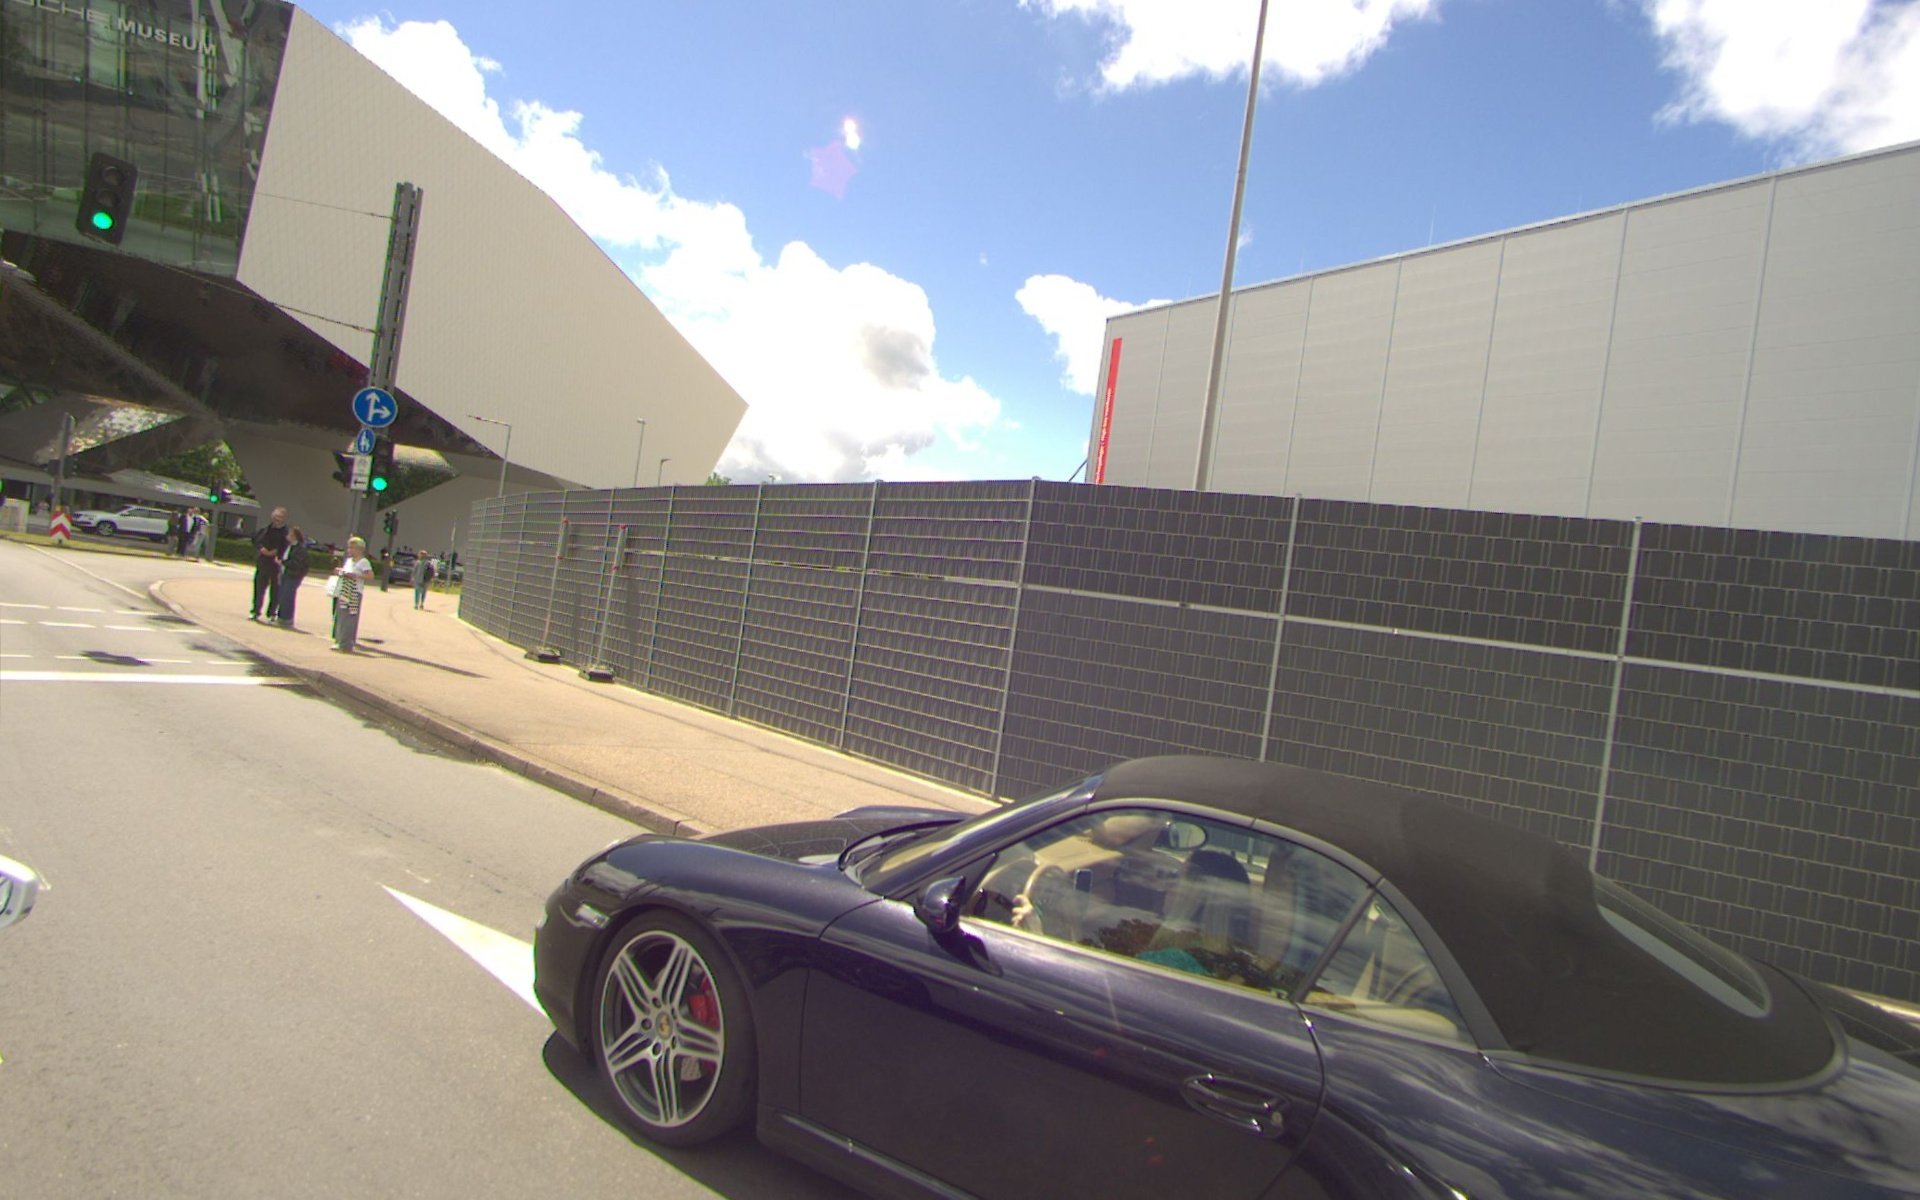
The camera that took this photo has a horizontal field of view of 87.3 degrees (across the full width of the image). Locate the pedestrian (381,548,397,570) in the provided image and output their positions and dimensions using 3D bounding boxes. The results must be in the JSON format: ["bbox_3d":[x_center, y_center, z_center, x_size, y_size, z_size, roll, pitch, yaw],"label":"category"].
[{"bbox_3d":[-49.328,-3.529,86.889,0.764,1.758,0.827,8,-2,-10],"label":"pedestrian"}]

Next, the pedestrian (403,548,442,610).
[{"bbox_3d":[-15.021,-0.582,28.104,0.689,1.604,0.912,9,-2,-35],"label":"pedestrian"}]

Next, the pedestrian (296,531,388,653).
[{"bbox_3d":[-8.912,-0.117,14.513,0.810,1.626,0.660,6,-2,34],"label":"pedestrian"}]

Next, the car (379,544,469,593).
[{"bbox_3d":[-25.571,-1.461,48.152,1.963,1.721,4.004,8,-3,0],"label":"car"}]

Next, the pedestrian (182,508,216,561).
[{"bbox_3d":[-28.675,-2.476,37.924,0.664,1.867,0.617,8,-2,-22],"label":"pedestrian"}]

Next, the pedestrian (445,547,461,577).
[{"bbox_3d":[-36.031,-2.693,71.523,0.768,2.036,0.822,8,-2,-29],"label":"pedestrian"}]

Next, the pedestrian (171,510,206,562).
[{"bbox_3d":[-28.516,-2.354,37.194,0.664,1.815,0.617,8,-2,-21],"label":"pedestrian"}]

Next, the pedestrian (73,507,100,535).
[{"bbox_3d":[-55.658,-5.002,64.111,0.906,1.590,0.831,7,-2,20],"label":"pedestrian"}]

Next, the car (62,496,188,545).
[{"bbox_3d":[-38.241,-3.628,46.180,1.807,1.568,3.995,6,-1,29],"label":"car"}]

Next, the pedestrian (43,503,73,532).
[{"bbox_3d":[-56.147,-5.150,62.617,0.906,1.590,0.832,7,-2,14],"label":"pedestrian"}]

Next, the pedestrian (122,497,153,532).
[{"bbox_3d":[-48.684,-5.056,59.539,0.906,1.846,0.832,7,-2,14],"label":"pedestrian"}]

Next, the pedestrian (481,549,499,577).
[{"bbox_3d":[-36.966,-2.897,79.160,0.762,2.036,0.829,7,-2,4],"label":"pedestrian"}]

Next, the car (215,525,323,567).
[{"bbox_3d":[-35.256,-2.724,51.444,1.804,1.399,4.163,9,-2,19],"label":"car"}]

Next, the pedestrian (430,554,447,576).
[{"bbox_3d":[-45.244,-3.049,87.319,0.762,1.758,0.829,7,-2,4],"label":"pedestrian"}]

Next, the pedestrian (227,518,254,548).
[{"bbox_3d":[-45.600,-4.236,63.734,0.906,1.695,0.832,7,-2,14],"label":"pedestrian"}]

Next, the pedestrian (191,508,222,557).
[{"bbox_3d":[-29.083,-2.607,38.833,0.599,1.779,0.617,8,-2,-21],"label":"pedestrian"}]

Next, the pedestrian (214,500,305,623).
[{"bbox_3d":[-11.592,-0.623,16.662,0.778,1.887,0.662,7,-2,9],"label":"pedestrian"}]

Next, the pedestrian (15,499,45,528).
[{"bbox_3d":[-56.932,-5.279,61.605,0.906,1.590,0.832,7,-2,14],"label":"pedestrian"}]

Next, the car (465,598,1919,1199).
[{"bbox_3d":[0.642,1.008,2.935,3.934,1.340,1.839,8,-2,32],"label":"car"}]

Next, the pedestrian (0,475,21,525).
[{"bbox_3d":[-41.945,-4.416,43.966,1.361,2.008,0.954,9,0,39],"label":"pedestrian"}]

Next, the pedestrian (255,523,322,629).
[{"bbox_3d":[-10.978,-0.383,16.454,0.651,1.634,0.465,6,-2,25],"label":"pedestrian"}]

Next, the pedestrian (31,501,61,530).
[{"bbox_3d":[-57.062,-5.284,62.796,0.906,1.590,0.832,7,-2,14],"label":"pedestrian"}]

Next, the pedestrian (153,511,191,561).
[{"bbox_3d":[-28.406,-2.308,36.262,0.609,1.656,0.673,7,-2,-4],"label":"pedestrian"}]

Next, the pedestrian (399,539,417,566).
[{"bbox_3d":[-45.263,-3.855,82.484,0.762,2.036,0.829,7,-2,4],"label":"pedestrian"}]
